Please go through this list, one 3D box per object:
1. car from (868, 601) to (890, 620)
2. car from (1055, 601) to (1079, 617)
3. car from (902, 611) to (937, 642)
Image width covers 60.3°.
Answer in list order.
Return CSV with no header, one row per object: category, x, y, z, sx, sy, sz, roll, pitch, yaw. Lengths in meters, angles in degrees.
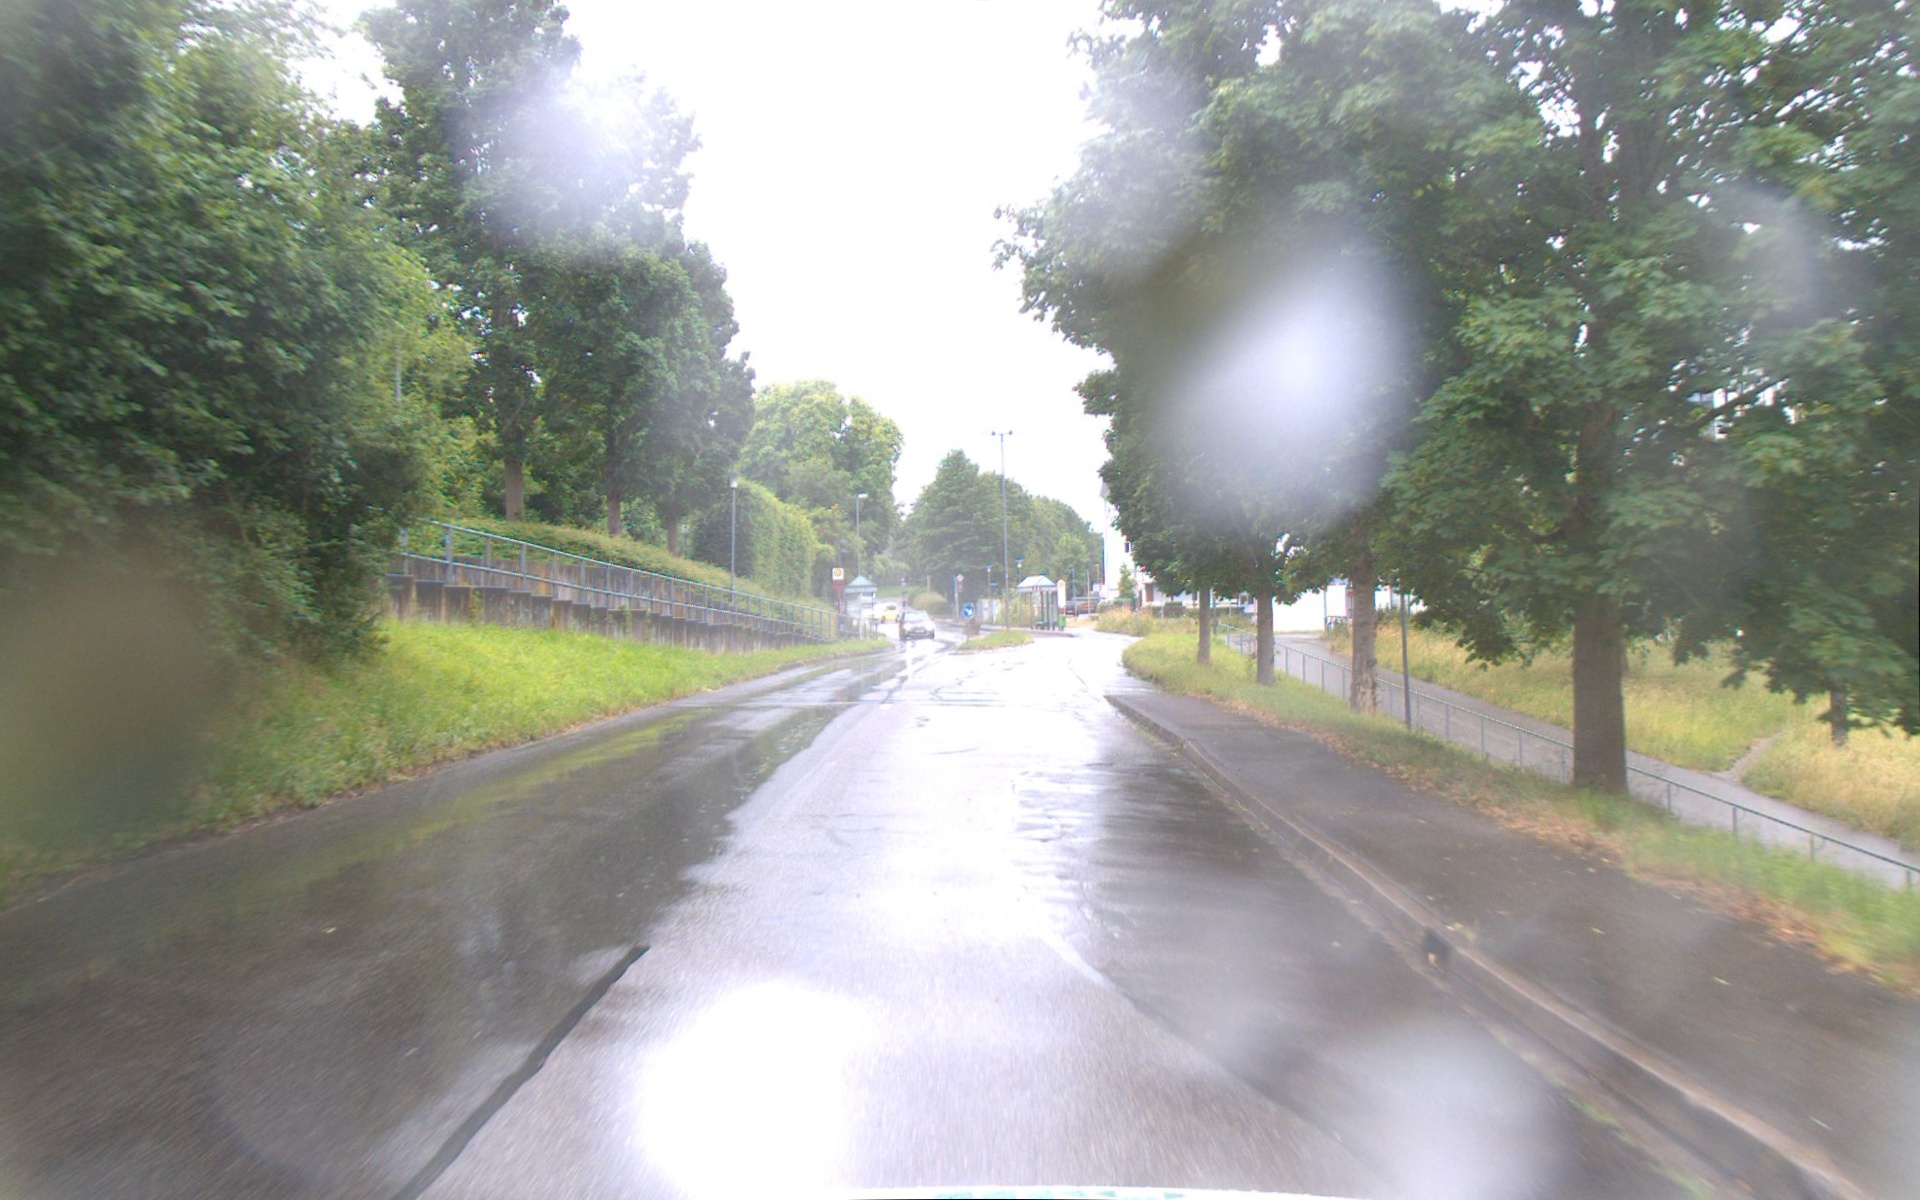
car,-6.511,0.836,132.925,1.542,1.435,3.470,-3,0,-5
car,10.412,0.849,161.204,1.656,1.463,3.607,-1,1,-6
car,-2.251,1.434,90.145,1.726,1.529,4.138,-3,-1,-3
